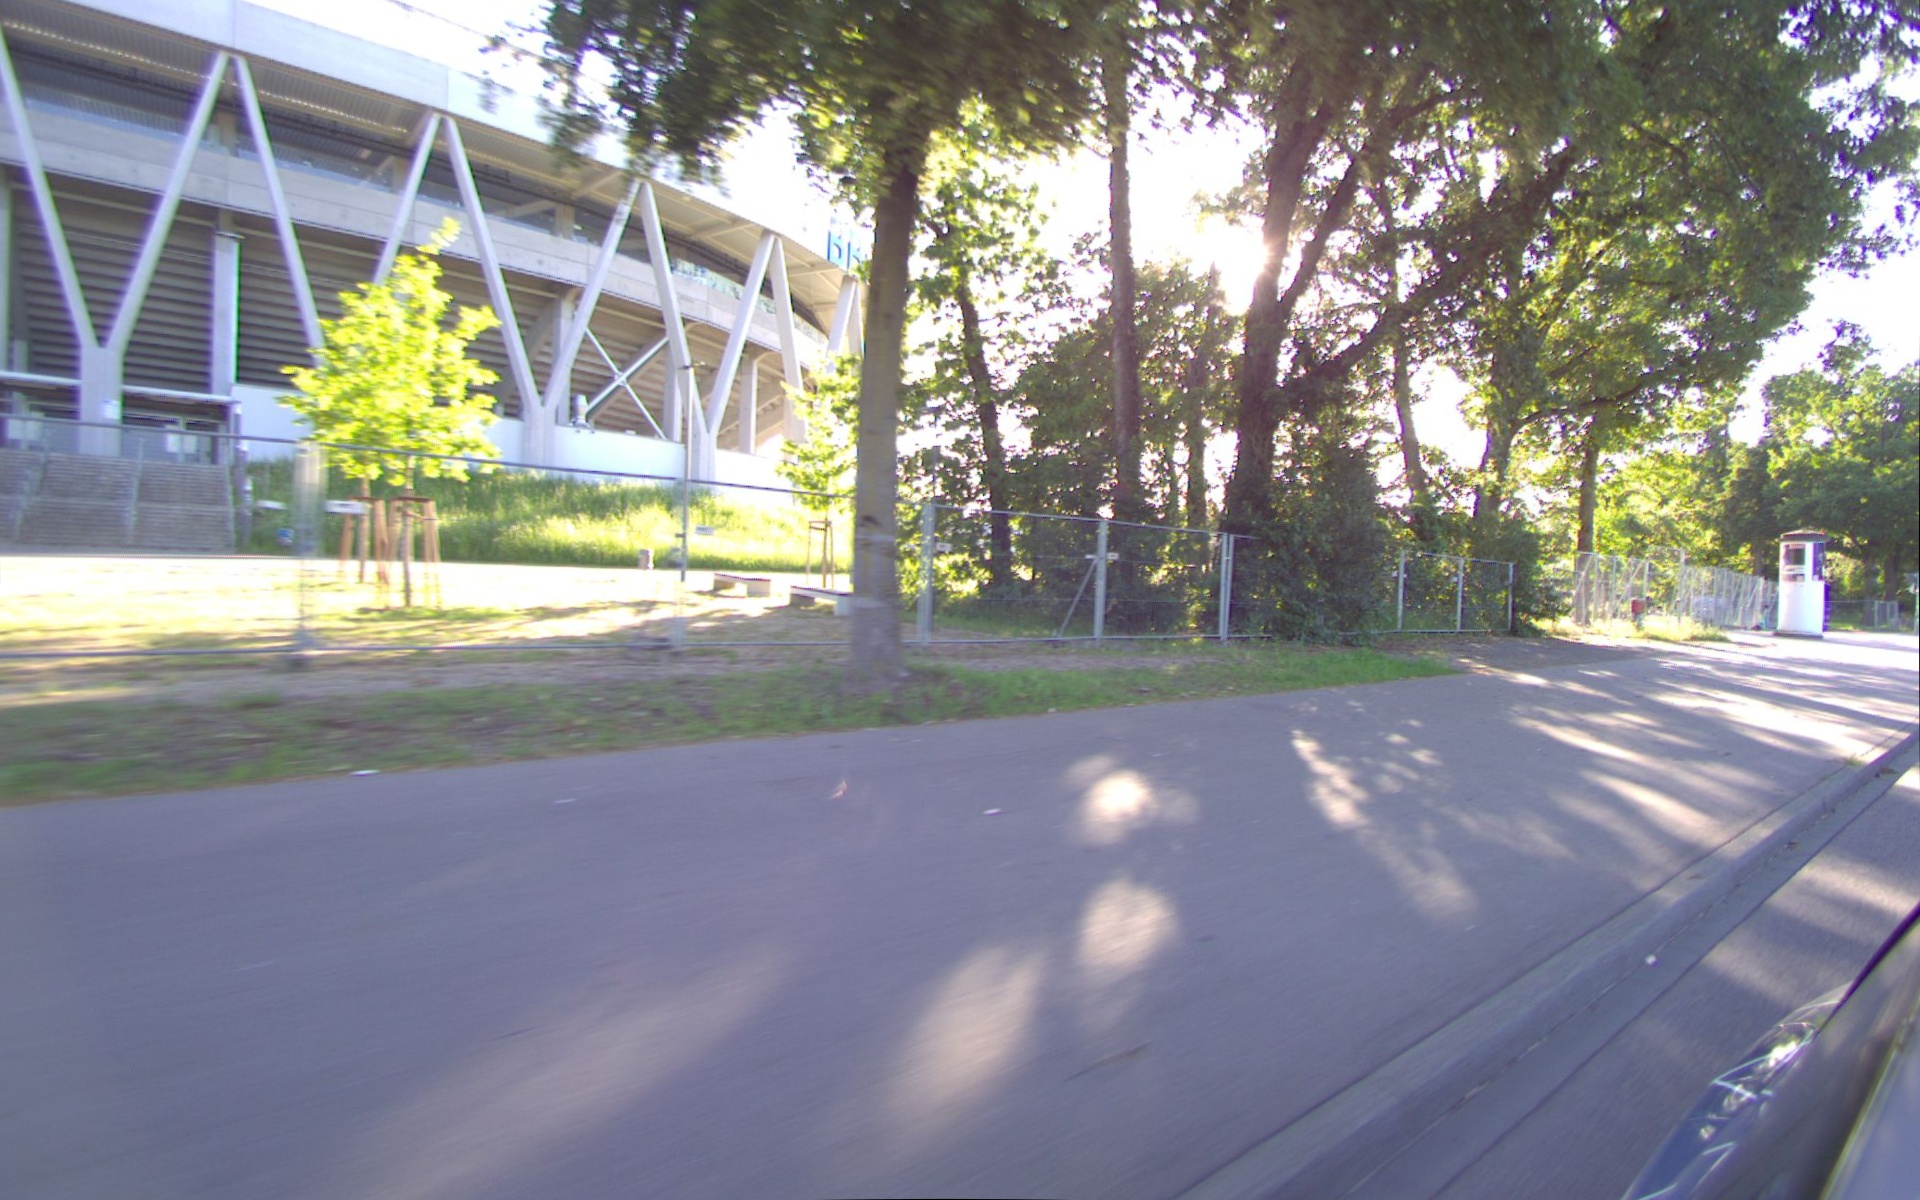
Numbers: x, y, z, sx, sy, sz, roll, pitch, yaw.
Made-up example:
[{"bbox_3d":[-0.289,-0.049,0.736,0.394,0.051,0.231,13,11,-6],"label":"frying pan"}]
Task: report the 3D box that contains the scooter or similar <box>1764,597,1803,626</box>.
[{"bbox_3d":[36.424,0.502,44.776,1.282,1.253,0.334,3,1,14],"label":"scooter or similar"}]
